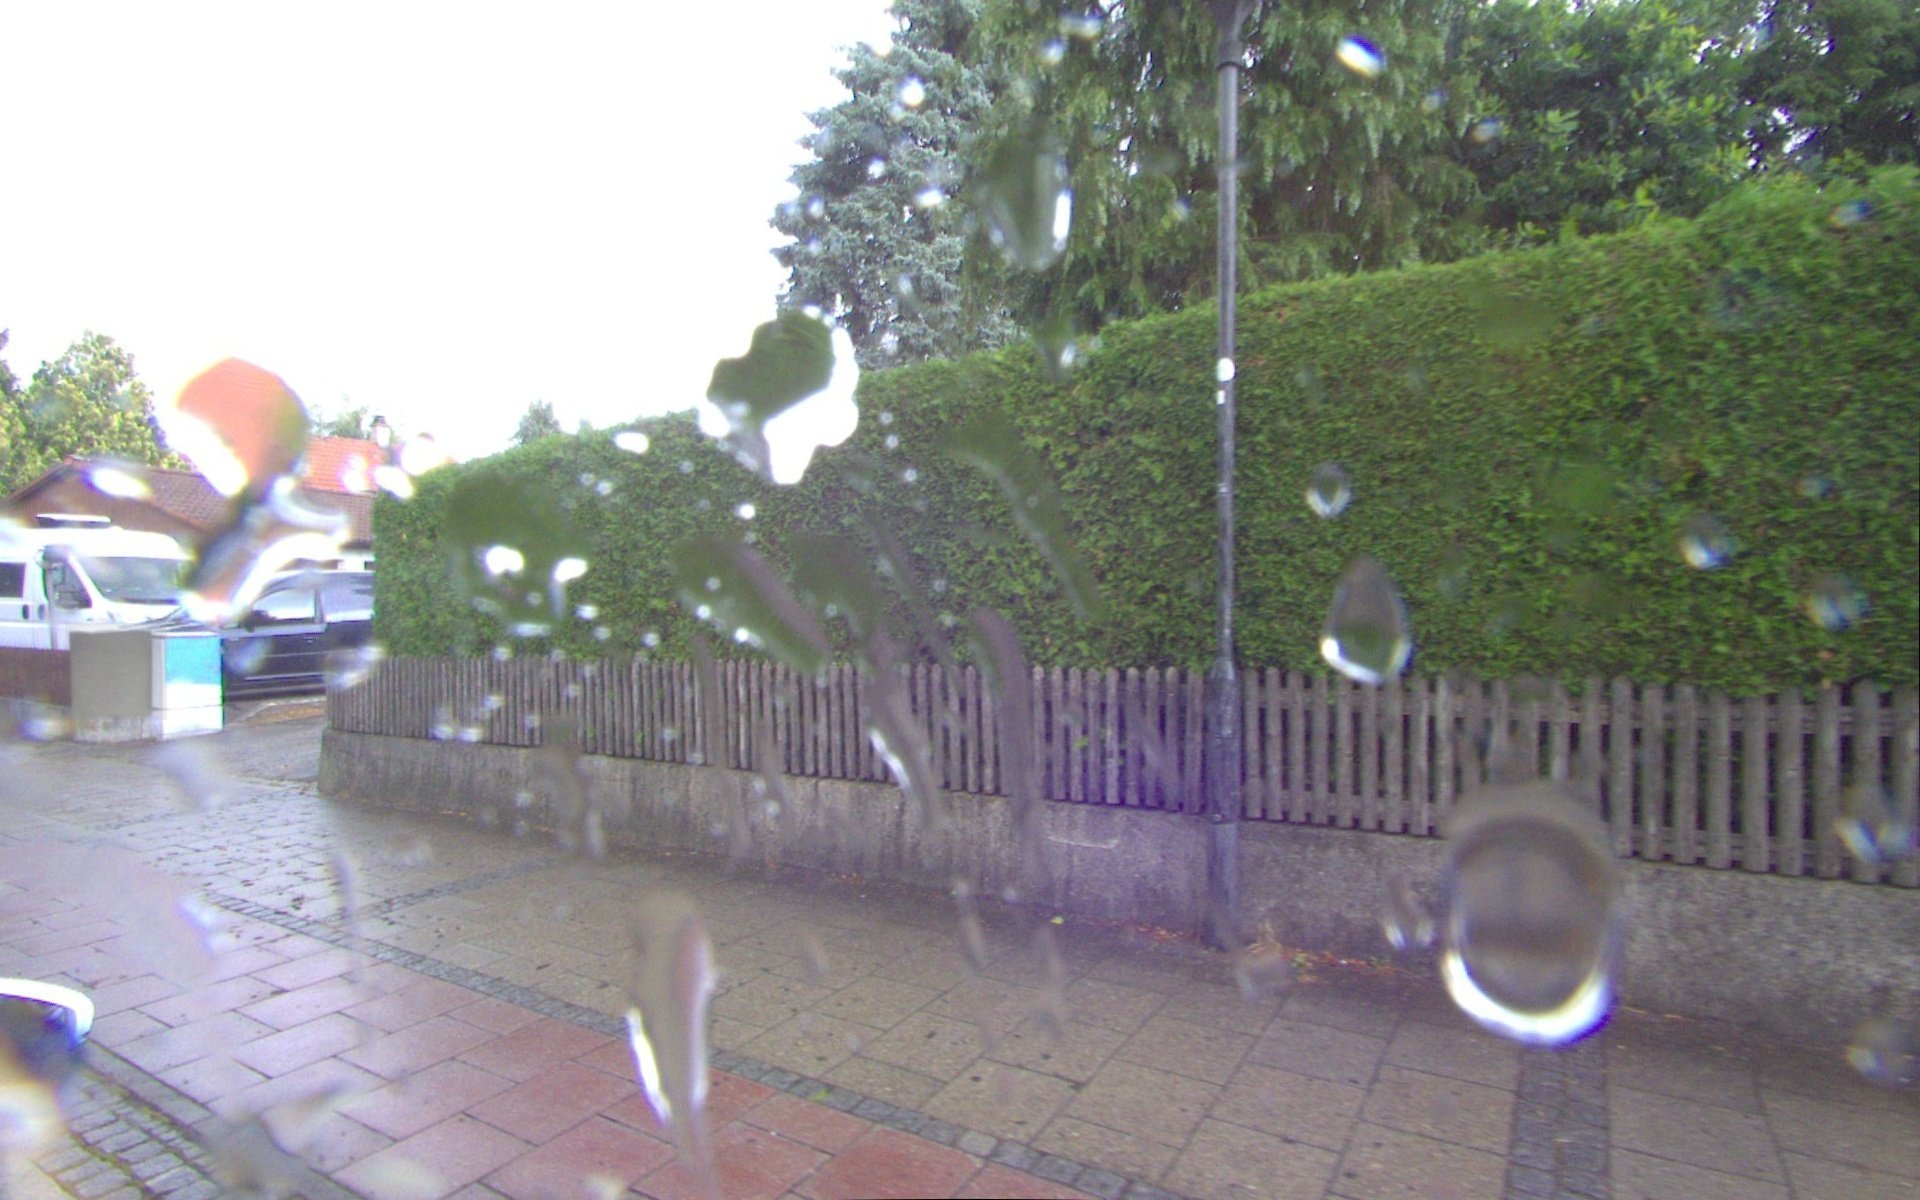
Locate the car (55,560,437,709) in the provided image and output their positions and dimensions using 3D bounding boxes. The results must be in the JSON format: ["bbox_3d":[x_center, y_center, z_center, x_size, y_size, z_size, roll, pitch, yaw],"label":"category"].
[{"bbox_3d":[-9.810,0.401,14.130,1.668,1.775,4.089,2,1,28],"label":"car"}]

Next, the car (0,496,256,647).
[{"bbox_3d":[-14.247,-0.337,16.378,4.865,2.201,1.998,-1,-2,19],"label":"car"}]
